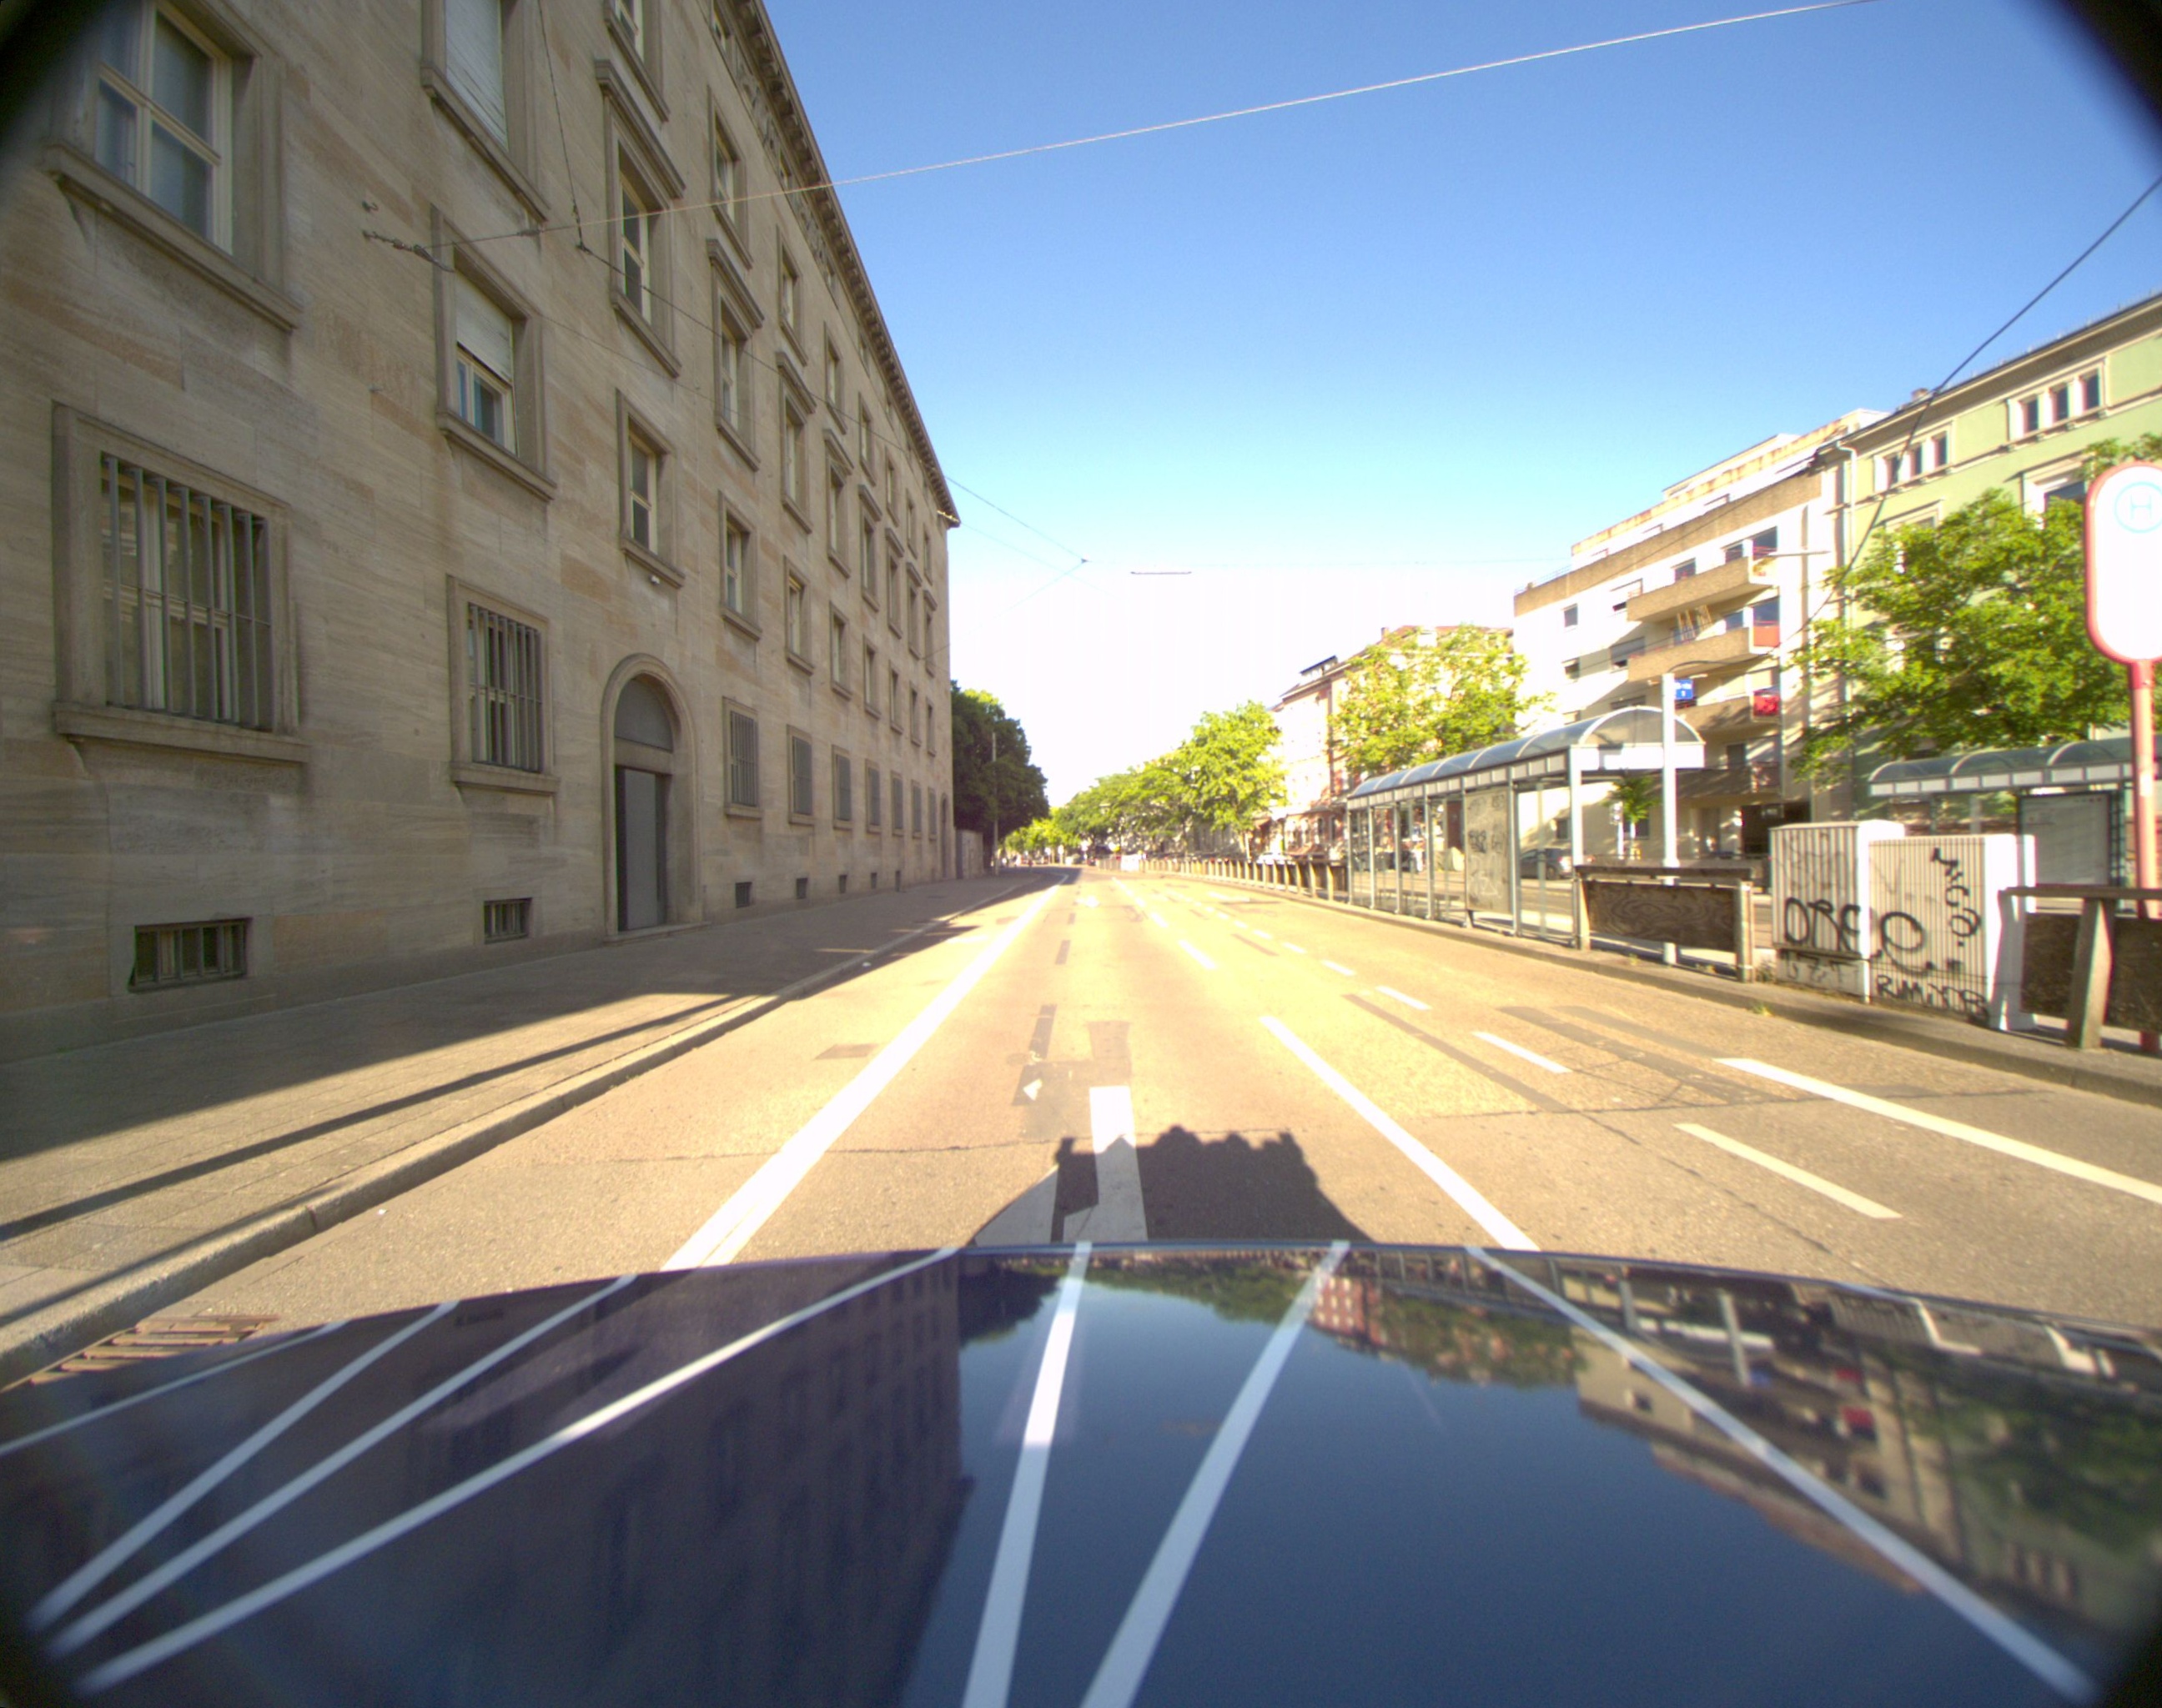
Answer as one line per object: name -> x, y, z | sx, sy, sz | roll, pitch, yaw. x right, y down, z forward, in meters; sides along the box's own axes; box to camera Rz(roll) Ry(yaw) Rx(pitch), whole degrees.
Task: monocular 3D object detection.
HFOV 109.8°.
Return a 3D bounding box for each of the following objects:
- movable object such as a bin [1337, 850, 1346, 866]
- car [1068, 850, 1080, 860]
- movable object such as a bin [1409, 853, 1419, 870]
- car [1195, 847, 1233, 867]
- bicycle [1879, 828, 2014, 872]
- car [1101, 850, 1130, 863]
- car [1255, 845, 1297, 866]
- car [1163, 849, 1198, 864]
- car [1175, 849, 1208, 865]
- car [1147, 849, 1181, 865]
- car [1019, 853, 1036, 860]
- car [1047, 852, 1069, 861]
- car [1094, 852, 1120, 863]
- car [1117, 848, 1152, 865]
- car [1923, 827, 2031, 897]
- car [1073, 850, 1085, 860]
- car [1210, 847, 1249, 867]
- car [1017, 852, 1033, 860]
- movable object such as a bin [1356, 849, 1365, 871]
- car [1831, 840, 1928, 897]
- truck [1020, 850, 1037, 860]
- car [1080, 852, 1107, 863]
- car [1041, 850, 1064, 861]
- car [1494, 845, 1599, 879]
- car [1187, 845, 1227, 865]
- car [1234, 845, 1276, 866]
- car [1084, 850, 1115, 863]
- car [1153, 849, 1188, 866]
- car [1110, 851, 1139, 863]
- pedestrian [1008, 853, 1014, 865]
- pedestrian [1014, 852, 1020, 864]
movable object such as a bin -> 17.946, 0.283, 52.389 | 0.380, 1.062, 0.639 | -1, 1, 0
car -> -1.391, 0.206, 146.293 | 1.673, 1.886, 3.211 | -1, 0, -12
movable object such as a bin -> 21.373, 0.471, 48.767 | 0.380, 1.090, 0.552 | -1, 2, -6
car -> 12.992, 0.270, 73.936 | 1.630, 1.607, 3.993 | -2, 1, 43
bicycle -> 29.164, -0.118, 25.705 | 0.719, 1.390, 3.007 | -1, 0, -14
car -> 5.037, 0.377, 111.945 | 4.208, 1.714, 1.780 | -5, 2, -44
car -> 16.378, 0.109, 63.652 | 1.731, 1.513, 3.923 | -3, 1, 41
car -> 11.060, 0.301, 84.272 | 3.829, 1.477, 1.766 | -4, 2, -41
car -> 11.791, 0.314, 81.144 | 3.286, 1.524, 1.703 | -6, 2, -43
car -> 9.889, 0.340, 90.212 | 3.877, 1.645, 1.768 | -4, 2, -41
car -> -13.619, 0.656, 193.800 | 3.775, 1.584, 1.670 | -4, 1, -18
car -> -4.778, 0.449, 158.083 | 4.105, 1.561, 1.670 | -4, 1, -18
car -> 3.935, 0.518, 114.157 | 1.744, 1.511, 3.772 | -2, 2, 44
car -> 6.621, 0.303, 94.335 | 4.208, 1.788, 1.781 | -5, 3, -41
car -> 24.492, 0.155, 20.898 | 4.524, 1.632, 1.585 | -4, 2, -45
car -> -0.425, 0.169, 141.959 | 1.673, 1.886, 3.211 | -1, 0, -12
car -> 13.993, 0.243, 71.406 | 1.630, 1.607, 3.993 | -2, 1, 43
car -> -14.598, 0.520, 197.003 | 3.775, 1.584, 1.670 | -4, 1, -18
movable object such as a bin -> 18.865, 0.405, 51.278 | 0.380, 1.418, 0.386 | -1, 1, 0
car -> 23.924, 0.369, 22.877 | 4.524, 1.417, 1.868 | -4, 2, -45
truck -> -13.210, 0.290, 190.859 | 3.774, 2.409, 1.671 | -4, 1, -13
car -> 2.001, 0.573, 119.091 | 4.007, 1.478, 1.777 | -4, 2, -44
car -> -6.015, 0.336, 161.007 | 4.311, 1.940, 1.670 | -4, 1, -18
car -> 20.822, 0.349, 34.218 | 1.711, 1.402, 4.289 | -1, 0, -8
car -> 12.918, 0.087, 77.520 | 4.293, 1.713, 1.703 | -6, 3, -43
car -> 15.322, 0.126, 66.771 | 3.929, 1.499, 1.685 | -5, 1, -43
car -> 2.794, 0.382, 116.496 | 4.366, 1.704, 1.944 | -4, 2, -35
car -> 10.206, 0.388, 86.922 | 3.877, 1.645, 1.768 | -4, 2, -41
car -> 6.282, 0.429, 109.154 | 4.208, 1.549, 1.636 | -4, 1, -41
pedestrian -> -10.359, 0.714, 112.506 | 0.831, 1.710, 0.804 | -1, 1, -6
pedestrian -> -9.431, 0.549, 111.882 | 0.872, 1.710, 0.804 | -1, 1, -3
